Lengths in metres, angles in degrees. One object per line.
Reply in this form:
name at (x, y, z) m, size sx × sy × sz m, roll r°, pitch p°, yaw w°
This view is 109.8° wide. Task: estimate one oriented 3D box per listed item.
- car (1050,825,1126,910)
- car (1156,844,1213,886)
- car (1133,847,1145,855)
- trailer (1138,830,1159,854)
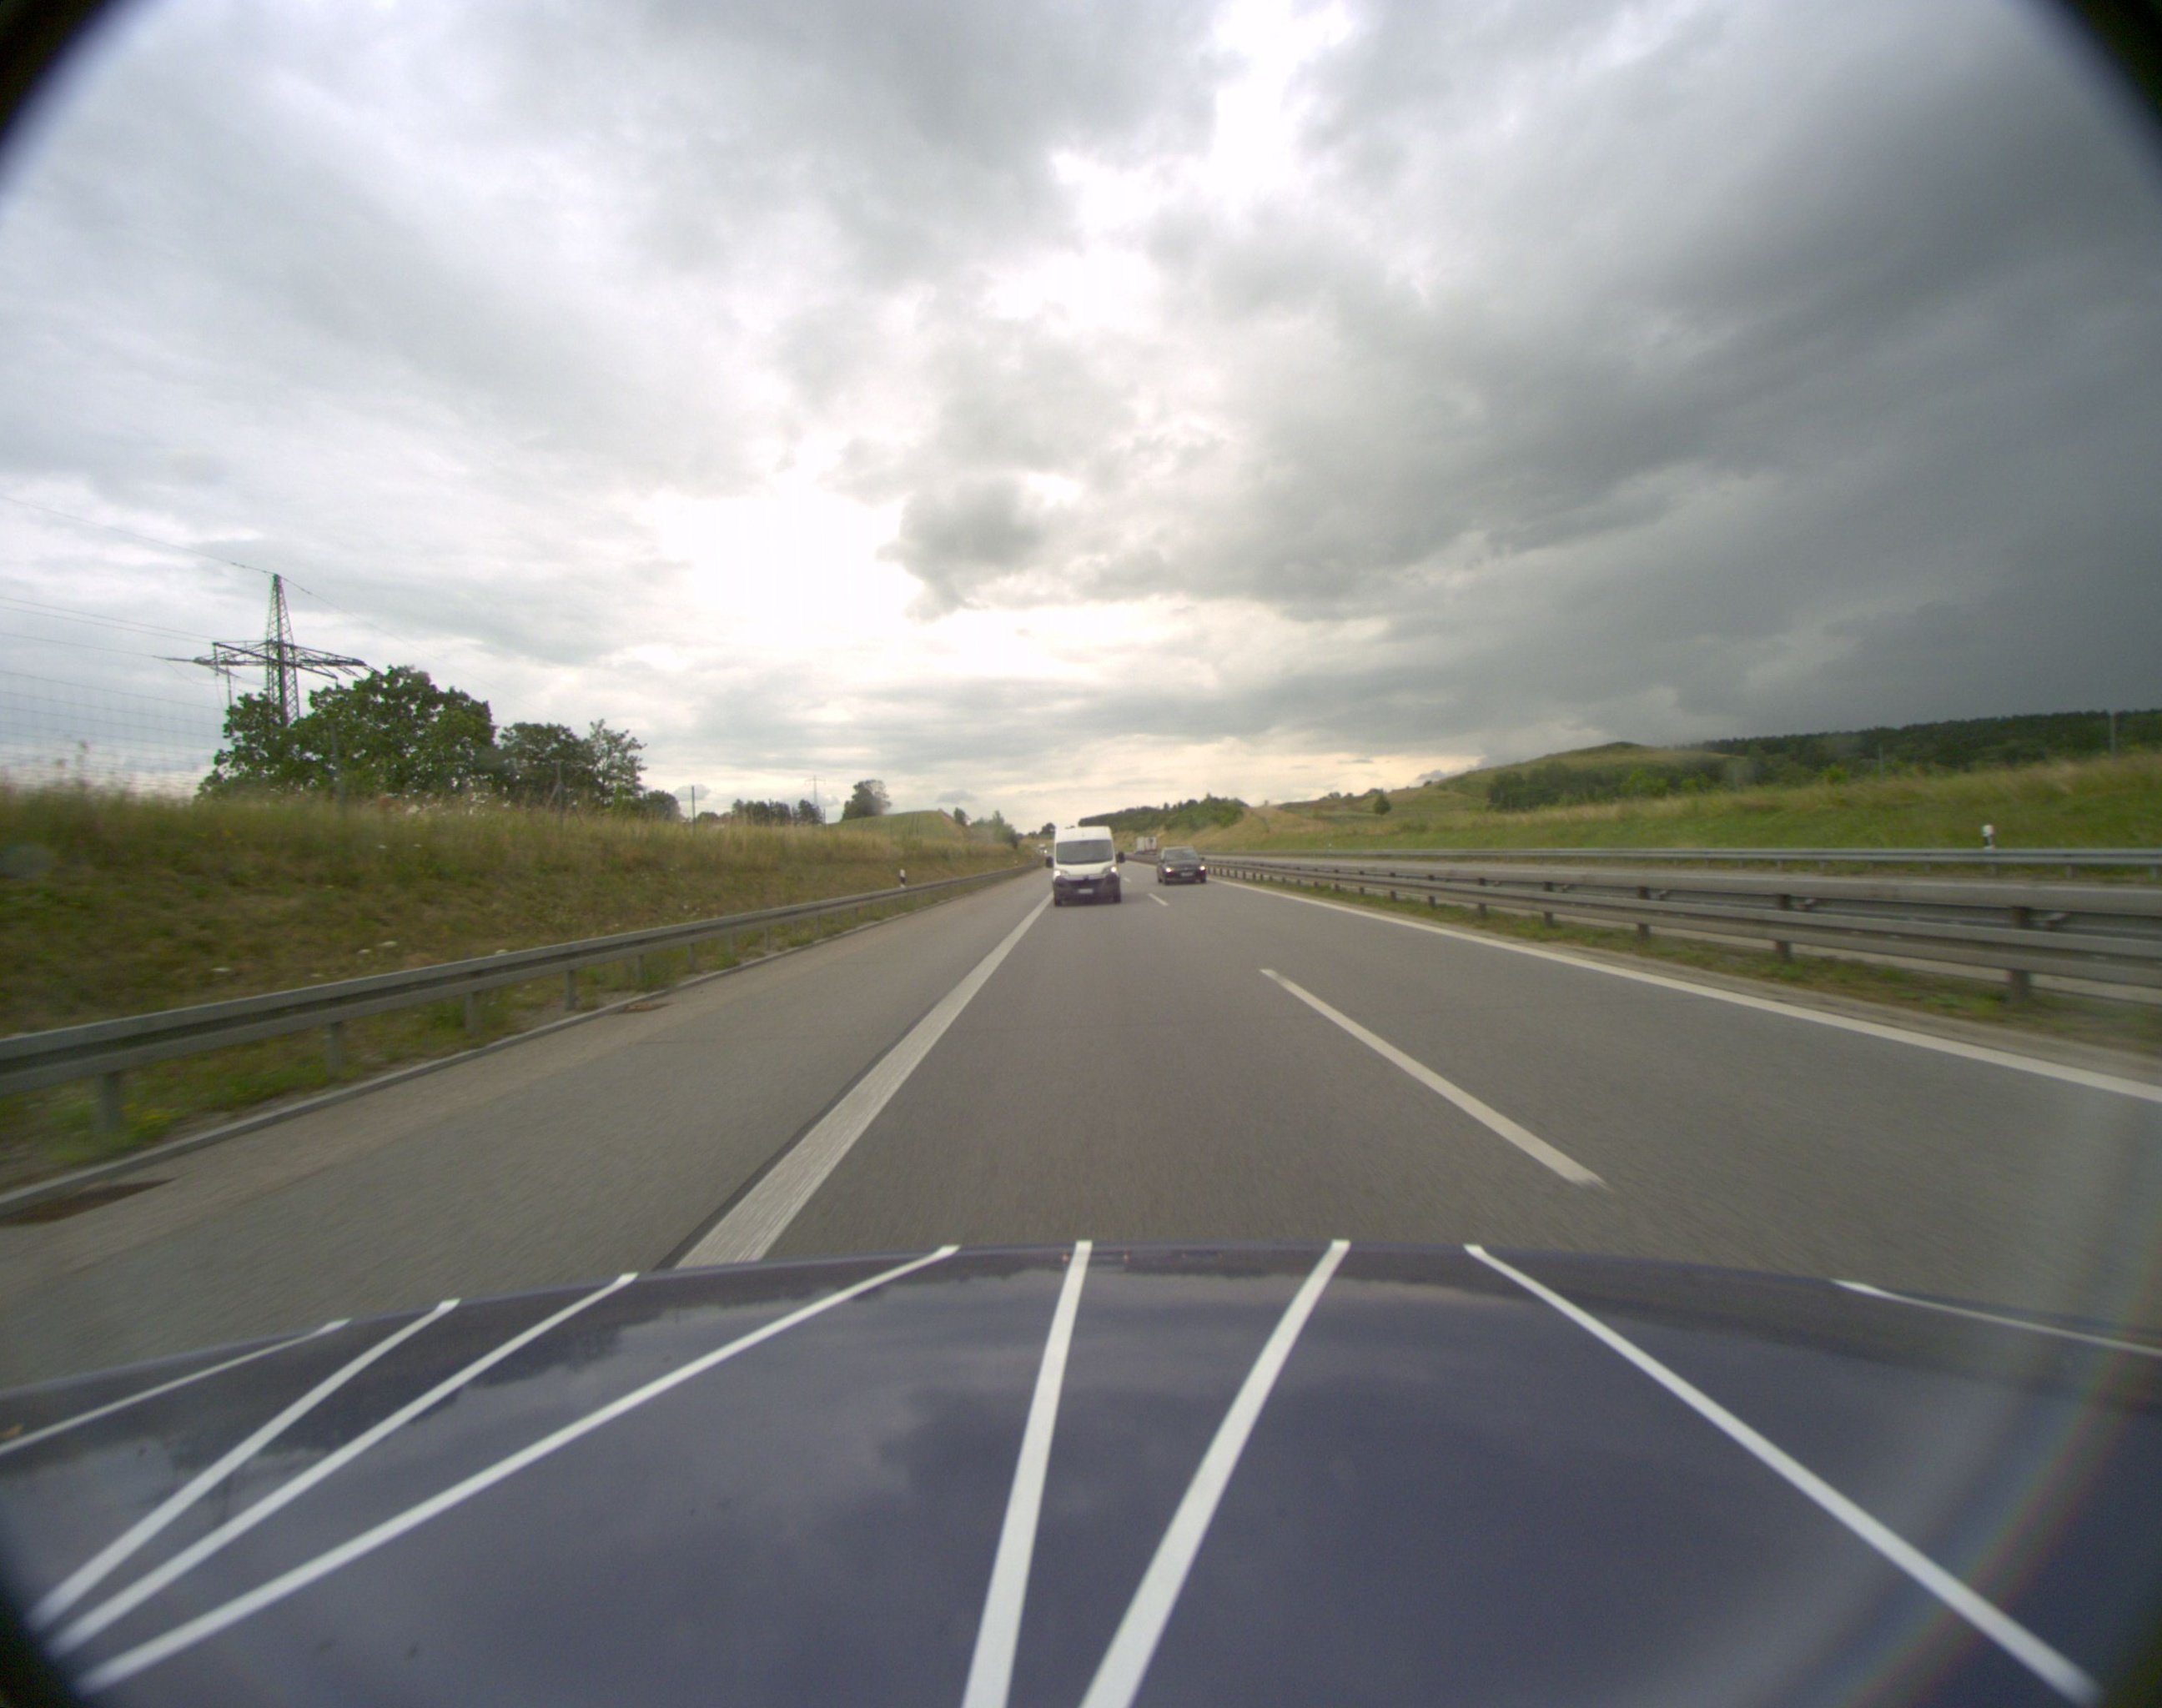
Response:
car at (0.190, 0.363, 25.767) m, size 2.132 × 2.412 × 6.110 m, roll -3°, pitch 1°, yaw 0°
car at (4.550, 0.421, 34.262) m, size 1.901 × 1.661 × 5.396 m, roll -3°, pitch 1°, yaw 2°
car at (10.789, -0.593, 141.646) m, size 1.768 × 1.416 × 3.999 m, roll -3°, pitch 1°, yaw -2°
trailer at (14.212, -2.448, 160.731) m, size 2.802 × 4.623 × 14.844 m, roll -3°, pitch 1°, yaw 0°
